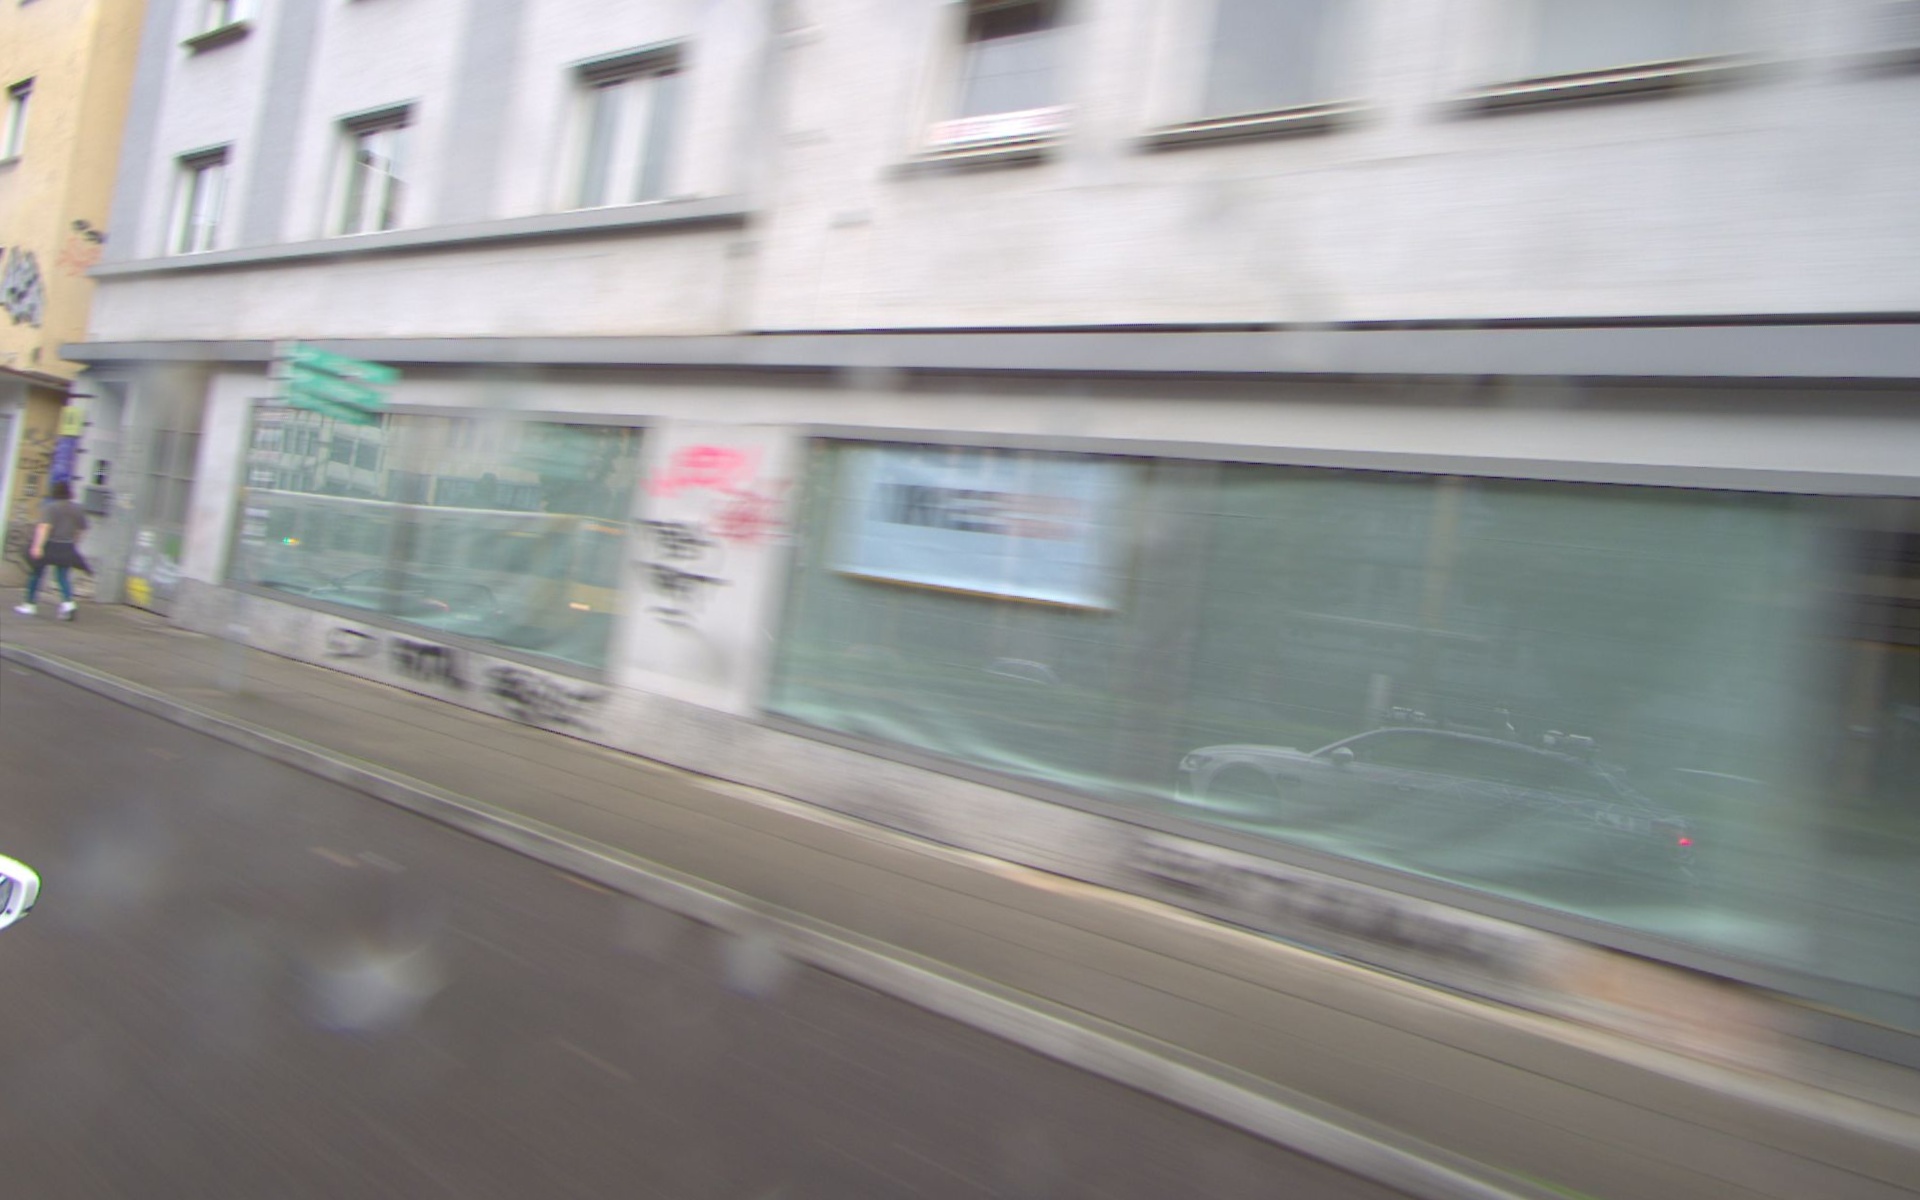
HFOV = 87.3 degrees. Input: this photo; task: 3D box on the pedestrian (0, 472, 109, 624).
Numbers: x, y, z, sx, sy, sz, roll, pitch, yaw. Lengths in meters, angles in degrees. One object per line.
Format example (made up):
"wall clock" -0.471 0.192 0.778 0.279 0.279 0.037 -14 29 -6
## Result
"pedestrian" -10.692 -0.603 11.863 0.709 1.682 0.791 7 5 31
